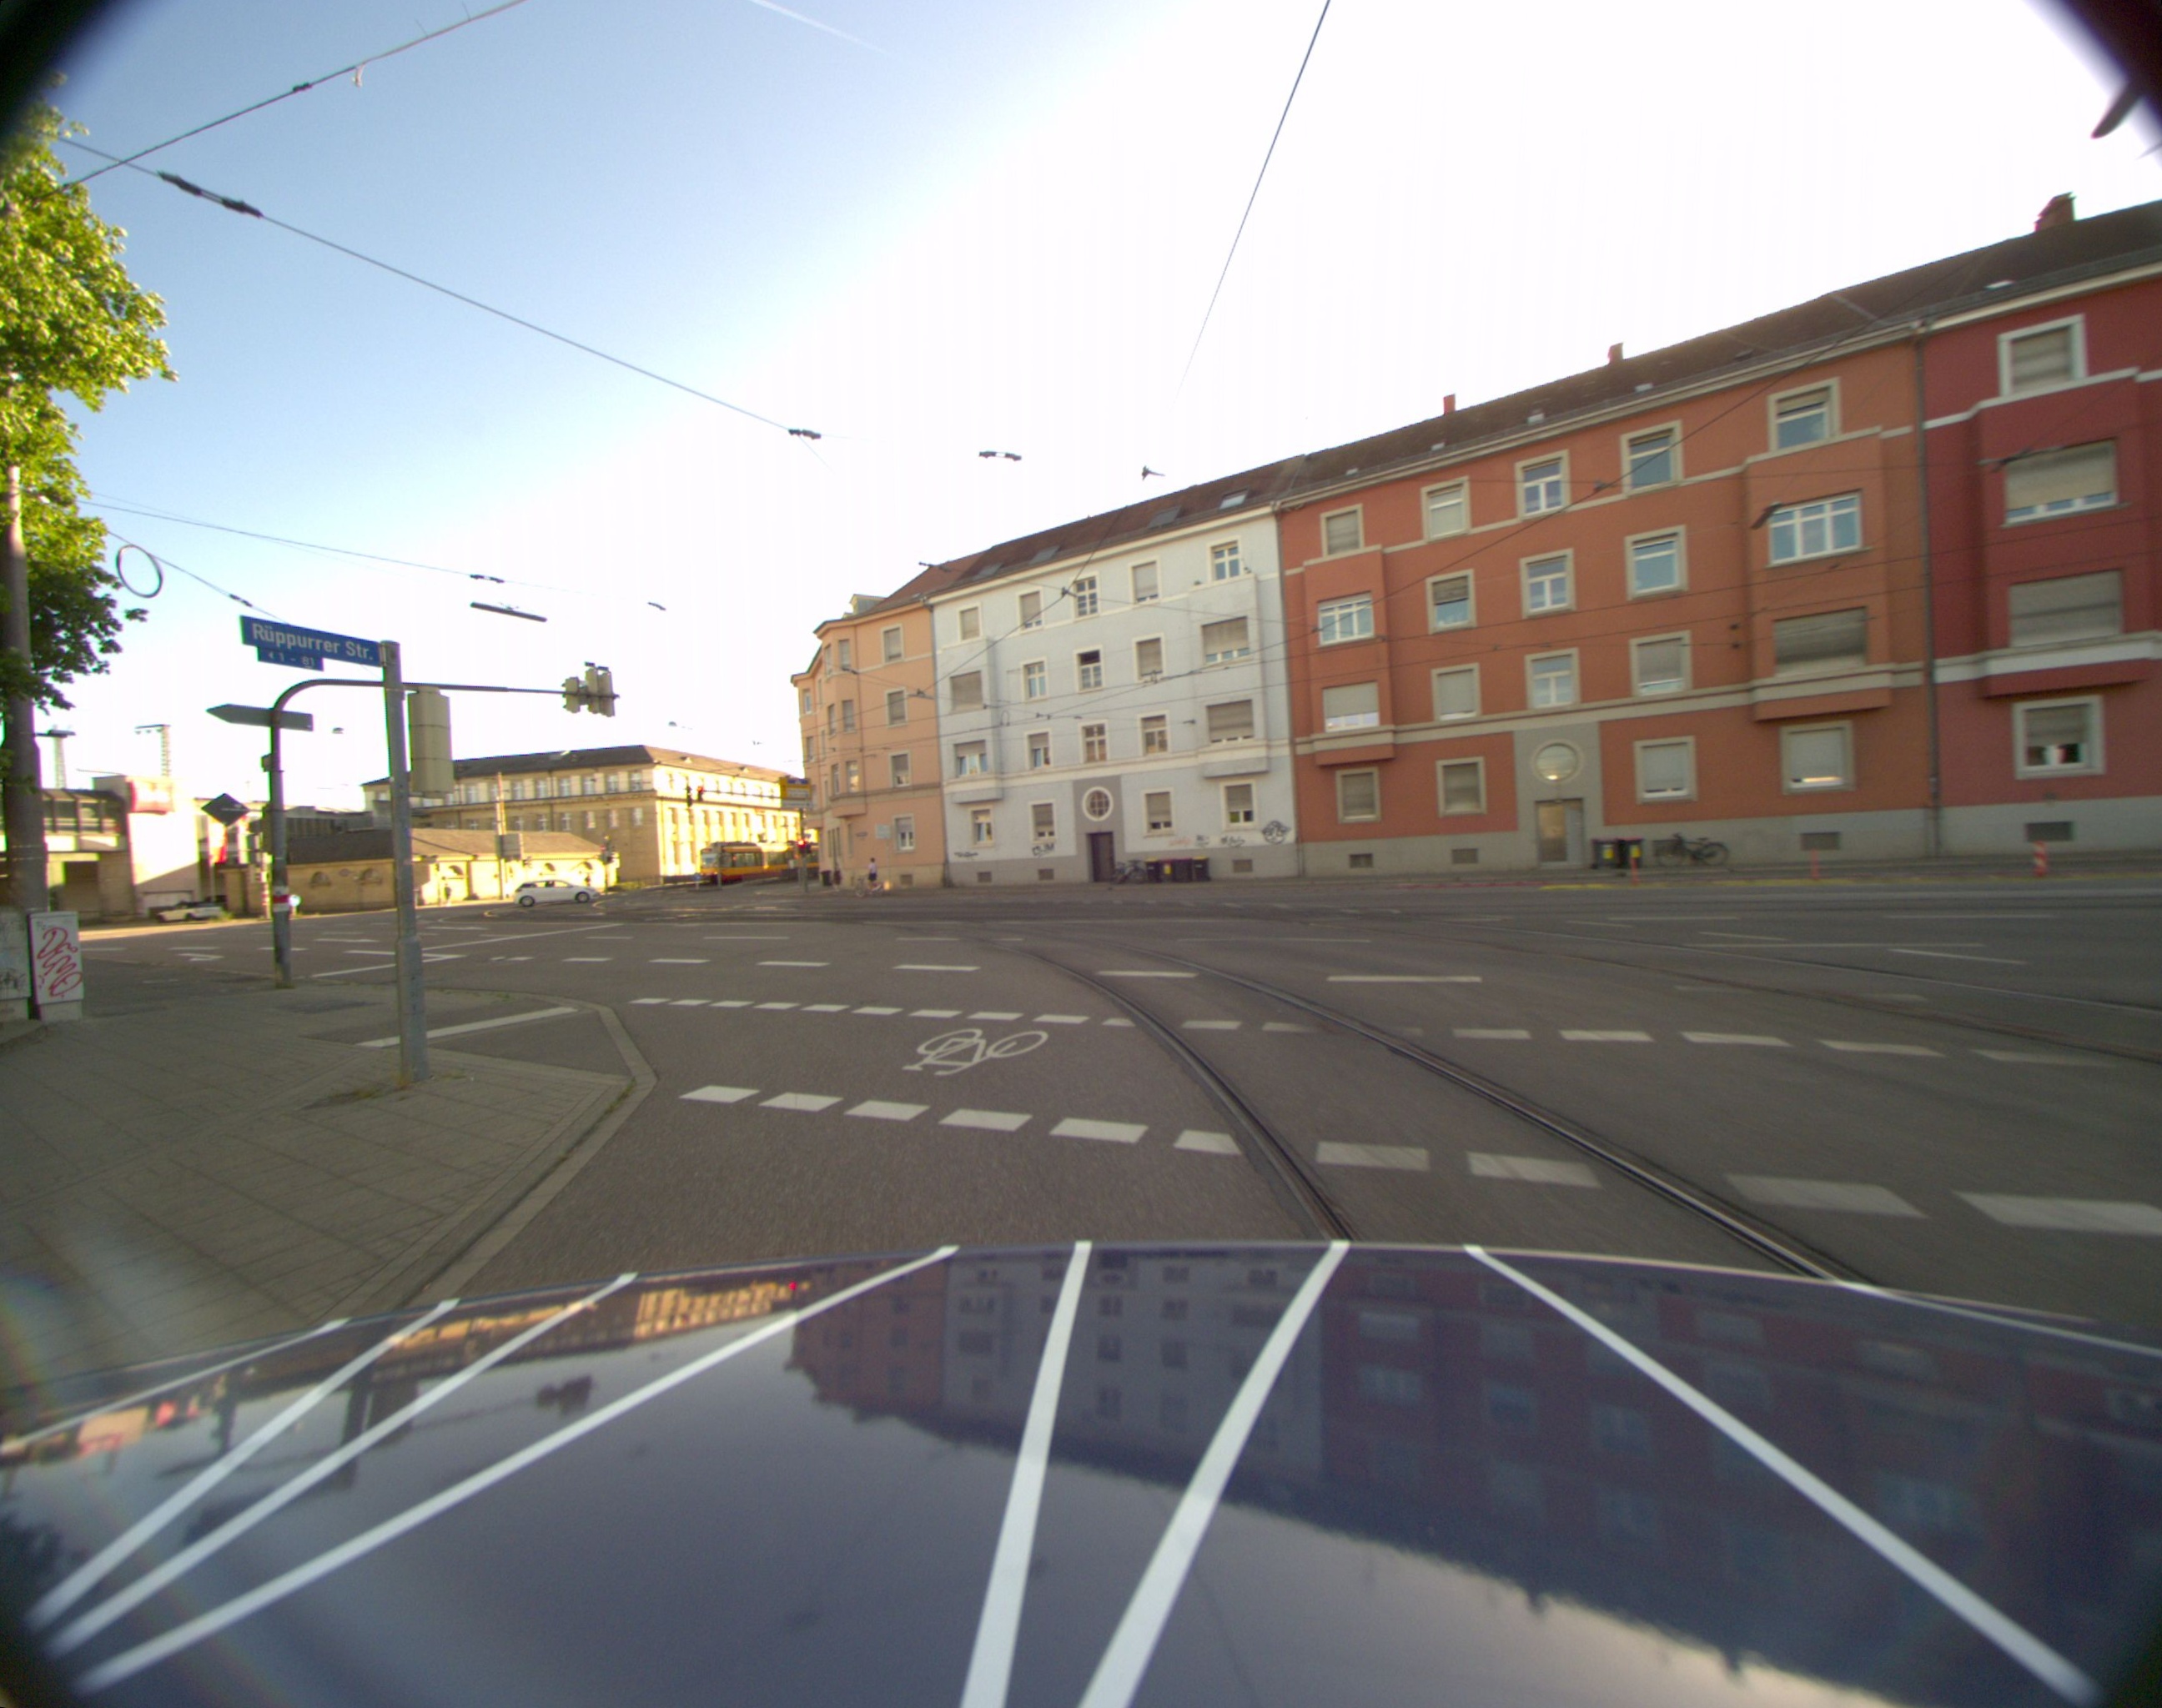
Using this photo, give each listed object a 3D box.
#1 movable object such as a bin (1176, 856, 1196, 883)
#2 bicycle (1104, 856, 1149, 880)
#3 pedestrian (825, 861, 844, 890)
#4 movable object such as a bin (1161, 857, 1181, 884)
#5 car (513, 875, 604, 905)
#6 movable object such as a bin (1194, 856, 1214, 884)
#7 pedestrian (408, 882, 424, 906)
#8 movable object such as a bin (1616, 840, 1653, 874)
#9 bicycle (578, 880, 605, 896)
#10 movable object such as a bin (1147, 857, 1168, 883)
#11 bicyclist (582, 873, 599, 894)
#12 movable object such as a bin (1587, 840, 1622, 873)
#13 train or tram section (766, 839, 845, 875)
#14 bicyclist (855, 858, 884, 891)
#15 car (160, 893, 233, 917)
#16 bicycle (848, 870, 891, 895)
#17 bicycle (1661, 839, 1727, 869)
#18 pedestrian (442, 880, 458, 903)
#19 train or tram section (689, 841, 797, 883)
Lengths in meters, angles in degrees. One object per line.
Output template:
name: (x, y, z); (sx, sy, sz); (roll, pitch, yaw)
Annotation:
movable object such as a bin: (4.495, 0.680, 32.550); (0.581, 1.100, 0.705); (-2, 2, 29)
bicycle: (2.037, 0.628, 33.941); (1.872, 0.974, 0.608); (-2, 2, 29)
pedestrian: (-13.845, 1.193, 42.677); (0.678, 1.555, 0.718); (-4, 1, -39)
movable object such as a bin: (3.908, 0.705, 32.865); (0.581, 1.100, 0.705); (-2, 2, 29)
car: (-29.785, 2.021, 43.460); (4.111, 1.386, 1.788); (-4, 1, -32)
movable object such as a bin: (5.189, 0.672, 32.147); (0.581, 1.100, 0.705); (-2, 2, 29)
pedestrian: (-47.834, 2.890, 54.665); (0.626, 1.630, 0.514); (-3, 1, -19)
movable object such as a bin: (18.111, 0.095, 24.876); (0.809, 1.034, 0.847); (-2, 1, 25)
bicycle: (-40.199, 2.812, 62.420); (0.685, 1.130, 2.073); (-3, 2, 3)
movable object such as a bin: (3.336, 0.703, 33.177); (0.647, 1.100, 0.705); (-2, 2, 29)
bicyclist: (-40.231, 2.406, 62.323); (0.677, 1.630, 0.939); (-3, 2, 3)
movable object such as a bin: (17.344, 0.083, 25.193); (0.809, 1.034, 0.847); (-2, 1, 25)
train or tram section: (-29.304, 0.217, 81.526); (3.161, 3.338, 10.683); (-3, 2, 8)
bicyclist: (-10.669, 1.033, 38.332); (1.123, 1.633, 0.750); (-2, 1, 30)
car: (-60.150, 3.443, 51.700); (3.528, 1.367, 1.733); (-3, 1, 13)
bicycle: (-10.680, 1.445, 38.357); (2.147, 1.184, 0.750); (-3, 1, 30)
bicycle: (19.515, 0.017, 24.228); (1.600, 0.885, 0.336); (-2, 1, 34)
pedestrian: (-45.448, 2.709, 54.733); (0.626, 1.630, 0.488); (-3, 1, -19)
train or tram section: (-30.893, 0.608, 70.379); (3.163, 3.302, 11.823); (-3, 1, 8)
